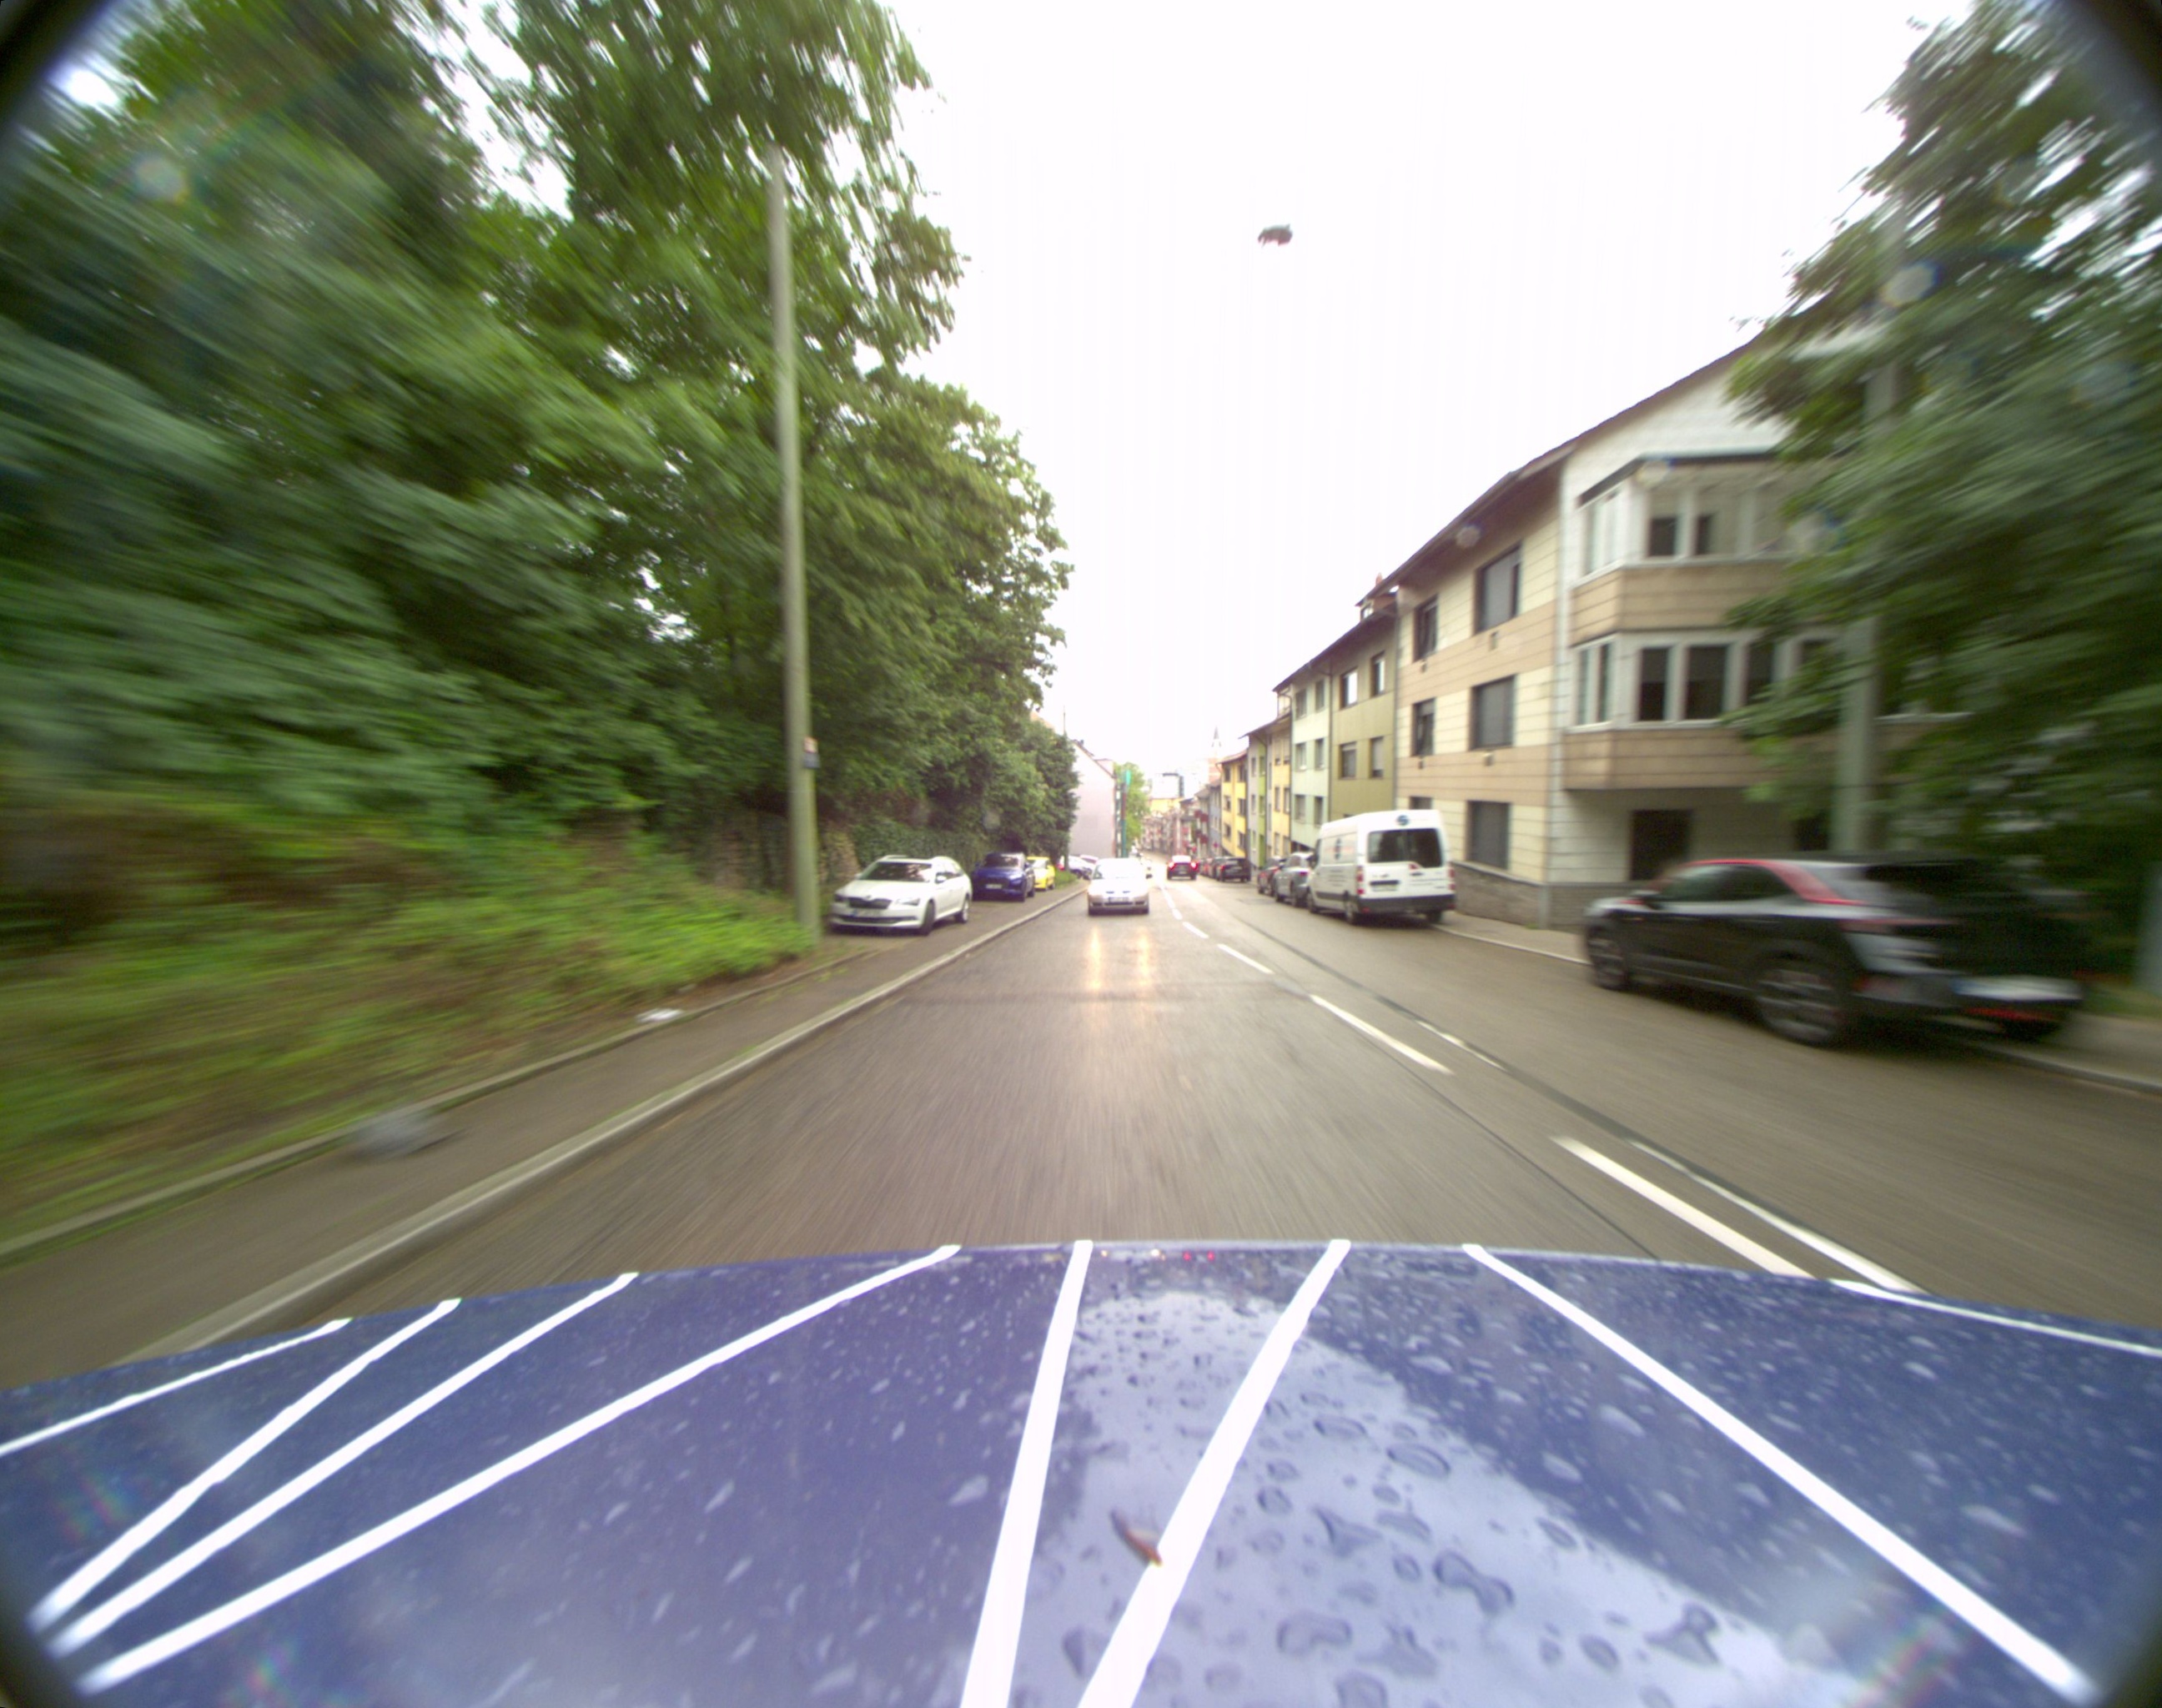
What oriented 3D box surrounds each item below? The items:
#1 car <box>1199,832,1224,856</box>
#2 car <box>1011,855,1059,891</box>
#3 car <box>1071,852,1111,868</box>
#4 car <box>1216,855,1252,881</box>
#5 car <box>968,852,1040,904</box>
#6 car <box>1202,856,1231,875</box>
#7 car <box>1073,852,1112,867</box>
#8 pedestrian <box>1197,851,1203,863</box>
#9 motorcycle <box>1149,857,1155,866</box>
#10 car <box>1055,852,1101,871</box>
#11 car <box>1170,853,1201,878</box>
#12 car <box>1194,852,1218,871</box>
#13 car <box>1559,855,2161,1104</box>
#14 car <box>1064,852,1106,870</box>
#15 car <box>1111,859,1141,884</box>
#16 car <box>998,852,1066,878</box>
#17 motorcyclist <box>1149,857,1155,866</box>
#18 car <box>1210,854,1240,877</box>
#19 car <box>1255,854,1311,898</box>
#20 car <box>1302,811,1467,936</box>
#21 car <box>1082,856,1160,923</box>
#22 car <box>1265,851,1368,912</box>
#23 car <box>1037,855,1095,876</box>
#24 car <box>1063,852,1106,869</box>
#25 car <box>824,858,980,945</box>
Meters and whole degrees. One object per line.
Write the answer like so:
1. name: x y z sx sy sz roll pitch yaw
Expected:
1. car: 14.264 -1.037 83.131 2.121 2.536 5.445 2 0 4
2. car: -2.002 0.819 34.282 1.567 1.458 3.900 2 0 5
3. car: 1.093 0.643 83.128 4.192 1.565 1.804 2 1 4
4. car: 9.675 0.844 48.210 1.696 1.584 4.001 1 0 4
5. car: -2.577 0.753 26.605 1.769 1.614 4.680 0 1 3
6. car: 11.157 0.926 62.712 1.908 1.528 4.001 1 0 5
7. car: 1.282 0.617 85.478 4.192 1.565 1.804 2 1 4
8. pedestrian: 16.836 0.409 107.702 0.805 1.608 0.455 -1 1 6
9. motorcycle: 9.041 0.967 96.708 0.778 1.120 2.300 -2 0 7
10. car: -0.235 0.719 72.050 4.192 1.565 1.804 2 1 4
11. car: 7.146 0.754 52.356 1.940 1.615 4.501 0 0 5
12. car: 11.865 0.682 72.360 1.908 1.647 4.329 1 0 5
13. car: 6.544 0.834 7.187 1.648 1.595 4.187 2 0 5
14. car: 0.409 0.743 79.313 4.192 1.635 1.804 2 1 4
15. car: 3.108 1.151 52.592 1.998 1.603 3.968 -1 0 4
16. car: -3.157 0.734 49.805 4.192 1.584 1.804 -1 0 4
17. motorcyclist: 9.053 0.955 96.674 0.778 1.120 0.549 -2 1 7
18. car: 10.495 0.841 55.672 1.687 1.584 4.056 1 0 5
19. car: 8.088 0.823 30.778 1.414 1.605 4.384 1 0 5
20. car: 7.065 0.388 18.439 2.121 2.536 5.445 2 0 4
21. car: 1.215 0.900 21.218 1.825 1.603 4.190 -2 0 7
22. car: 7.470 0.798 24.618 1.970 1.729 4.886 1 0 3
23. car: -1.097 0.857 57.511 4.192 1.408 1.804 1 1 4
24. car: 0.345 0.669 76.818 4.192 1.565 1.804 2 1 4
25. car: -3.521 0.866 15.956 1.742 1.469 4.741 1 0 5
